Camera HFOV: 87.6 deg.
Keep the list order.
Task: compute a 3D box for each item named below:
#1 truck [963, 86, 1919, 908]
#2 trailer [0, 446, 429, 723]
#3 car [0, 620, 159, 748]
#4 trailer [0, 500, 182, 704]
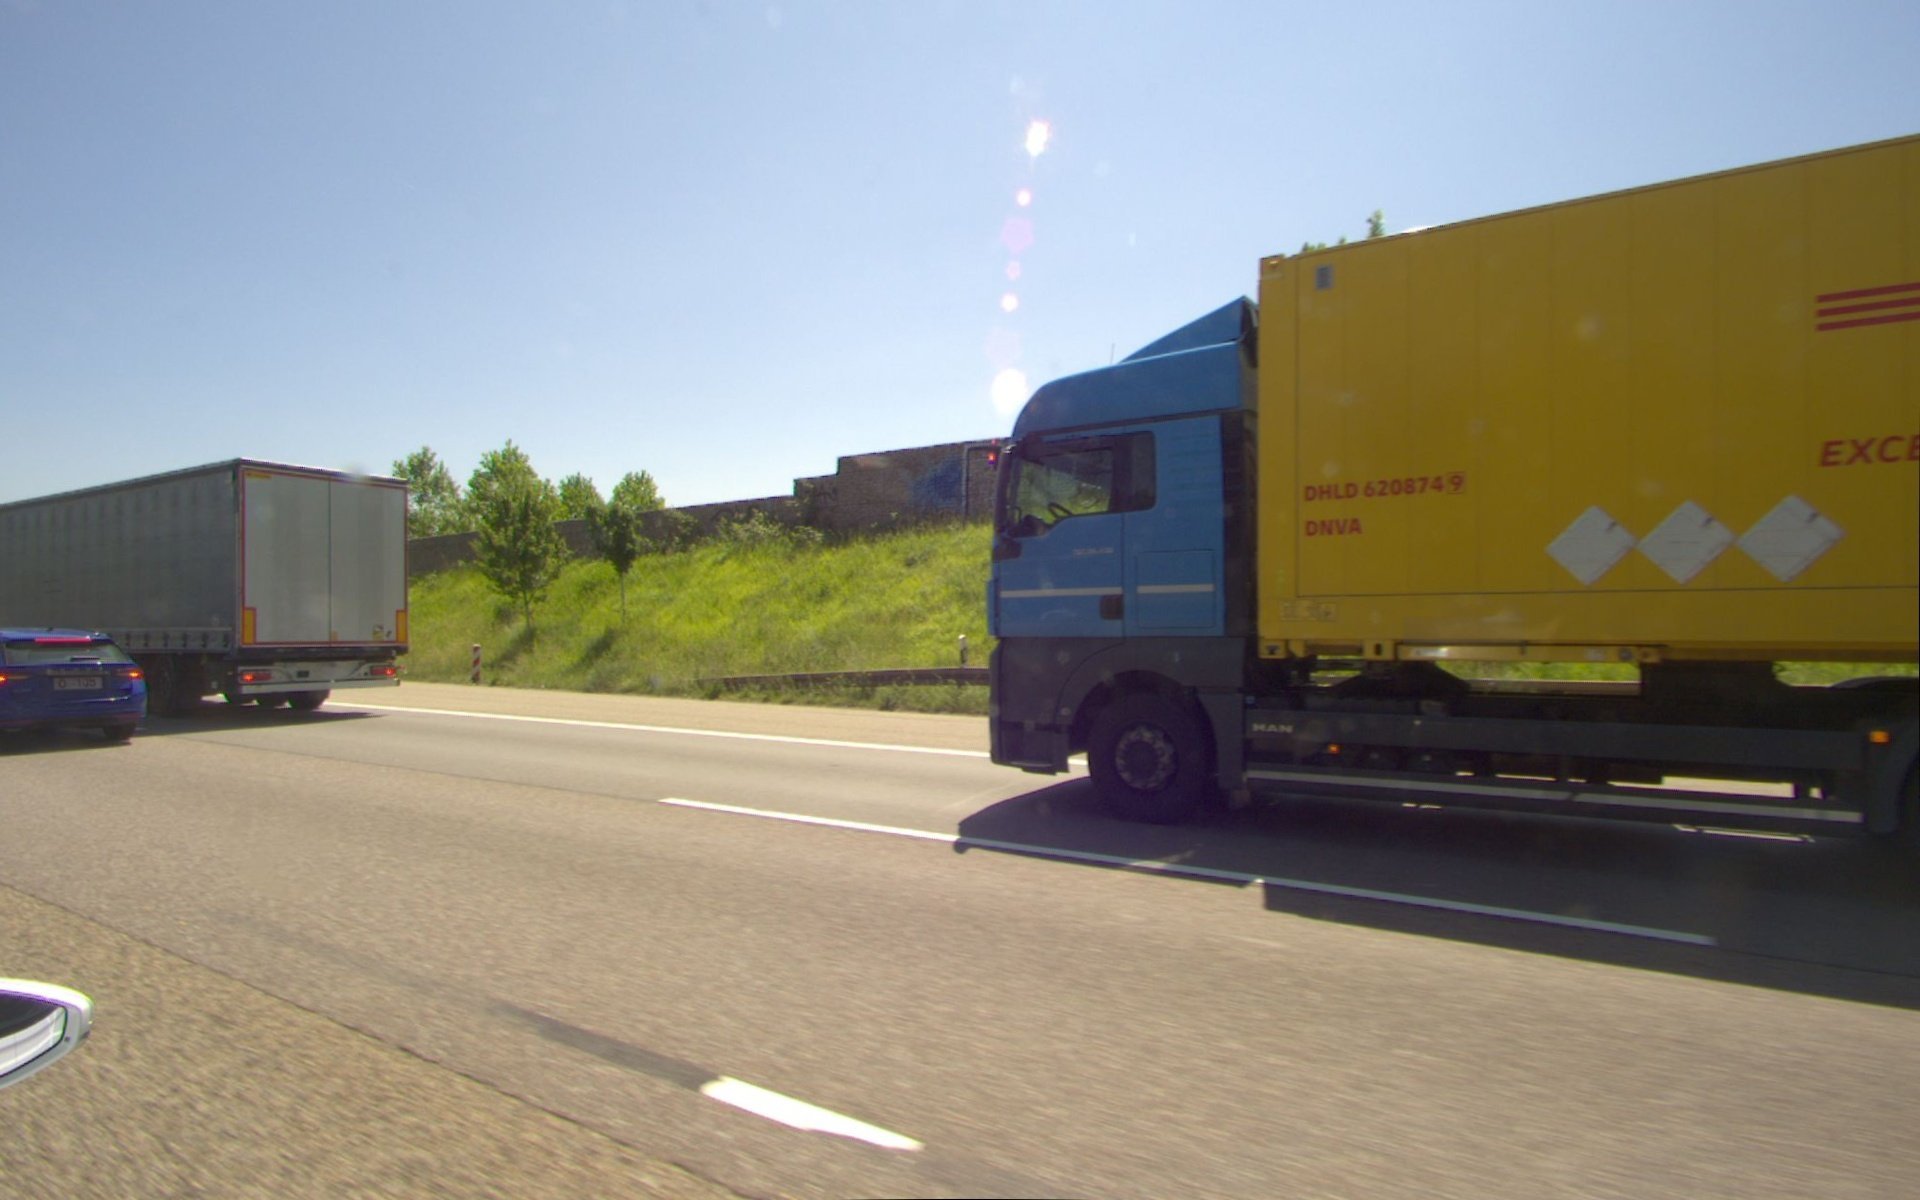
[{"bbox_3d":[4.890,-0.485,6.680,9.811,4.162,2.760,0,-1,33],"label":"truck"},{"bbox_3d":[-15.666,-0.119,19.715,13.556,4.102,2.956,-1,-1,33],"label":"trailer"},{"bbox_3d":[-12.451,1.028,13.171,4.366,1.459,1.703,-2,-2,33],"label":"car"},{"bbox_3d":[-21.014,0.084,23.110,6.319,4.097,2.919,0,0,32],"label":"trailer"}]
